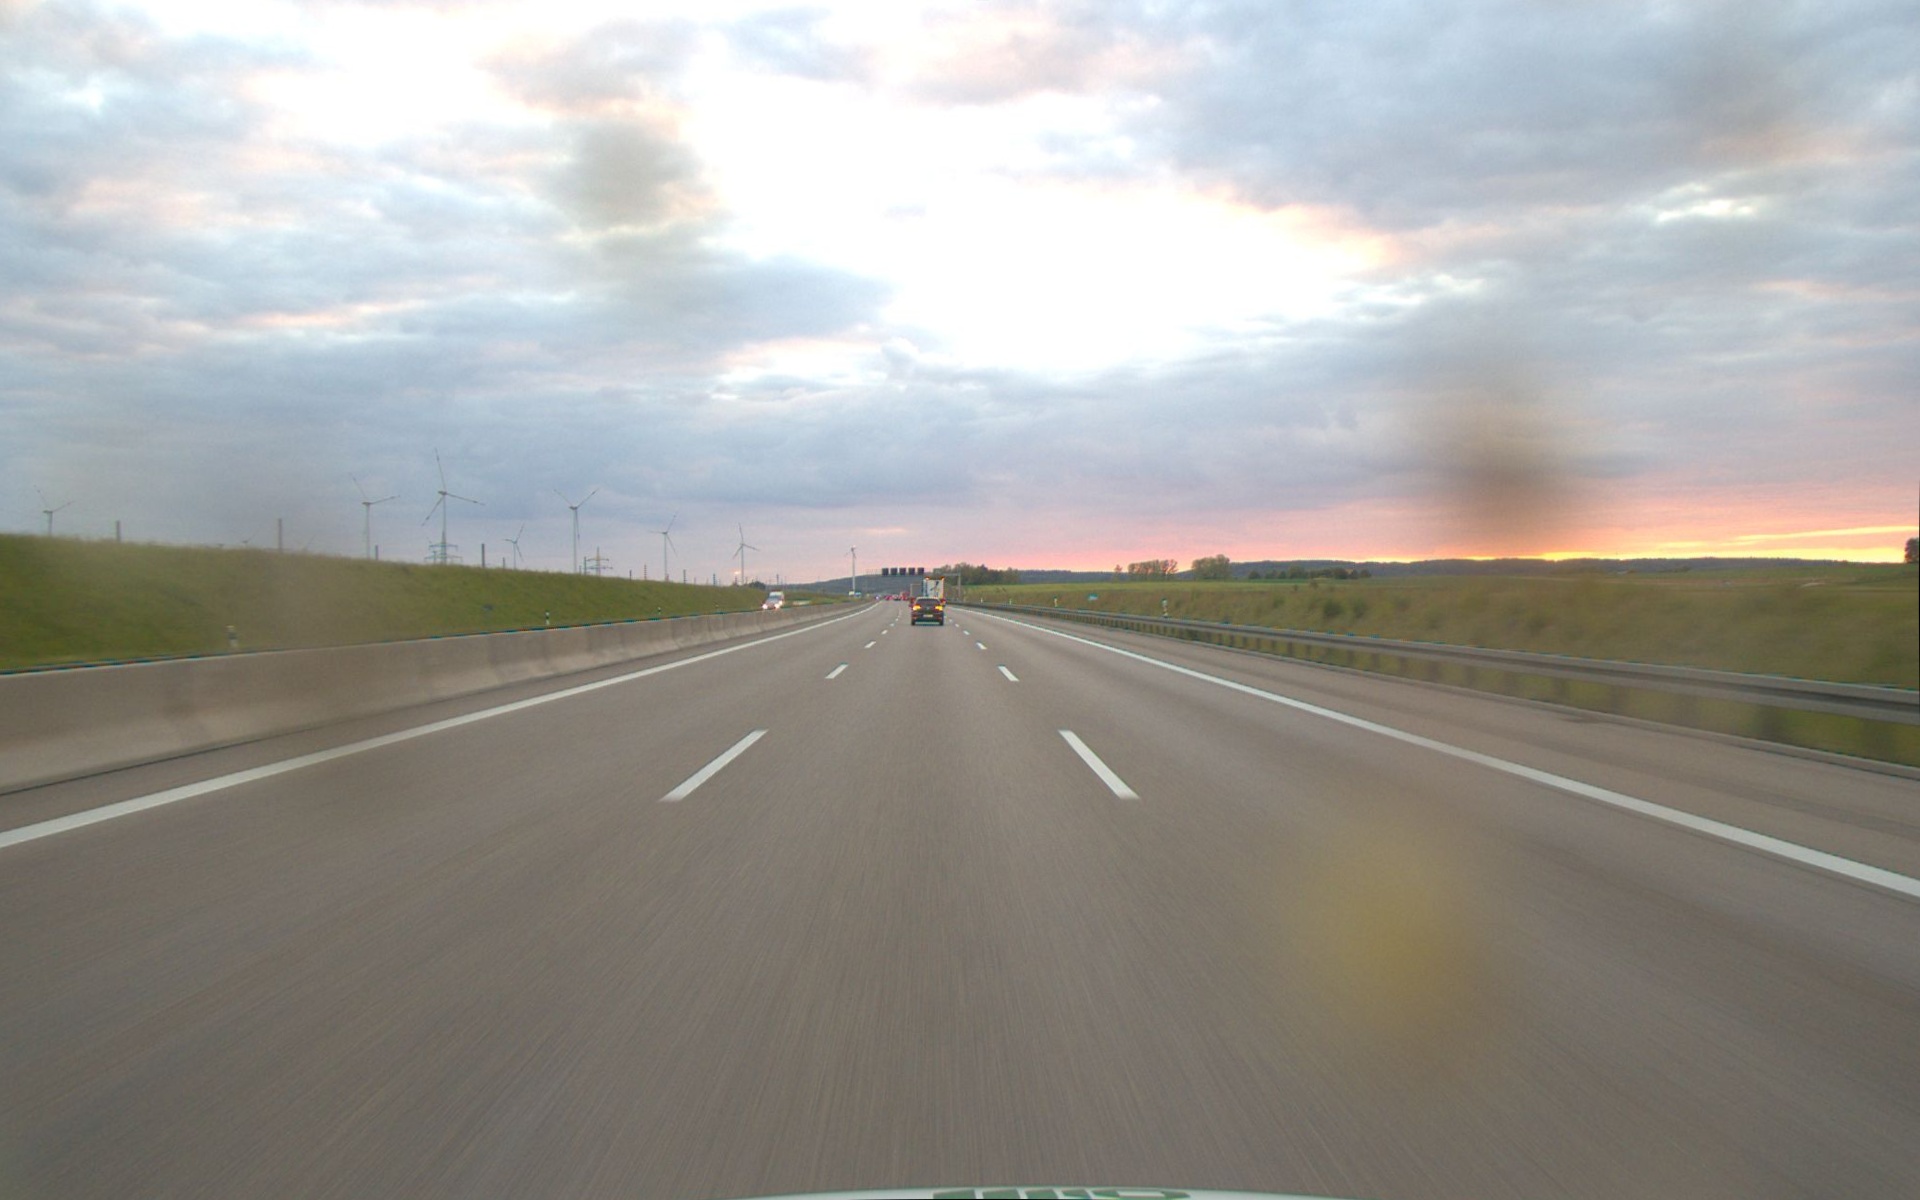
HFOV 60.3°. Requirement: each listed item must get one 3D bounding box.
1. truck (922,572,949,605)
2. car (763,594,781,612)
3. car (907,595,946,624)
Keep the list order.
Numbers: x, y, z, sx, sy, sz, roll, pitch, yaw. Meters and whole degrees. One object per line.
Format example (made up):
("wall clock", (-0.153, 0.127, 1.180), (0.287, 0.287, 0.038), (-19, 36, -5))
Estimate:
("truck", (-3.612, -1.606, 239.558), (3.602, 4.644, 10.976), (-1, 0, -2))
("car", (-27.409, 0.432, 241.726), (1.953, 2.591, 7.375), (-1, 0, -1))
("car", (-1.730, 0.492, 87.163), (1.947, 1.454, 4.000), (-1, 1, 0))
